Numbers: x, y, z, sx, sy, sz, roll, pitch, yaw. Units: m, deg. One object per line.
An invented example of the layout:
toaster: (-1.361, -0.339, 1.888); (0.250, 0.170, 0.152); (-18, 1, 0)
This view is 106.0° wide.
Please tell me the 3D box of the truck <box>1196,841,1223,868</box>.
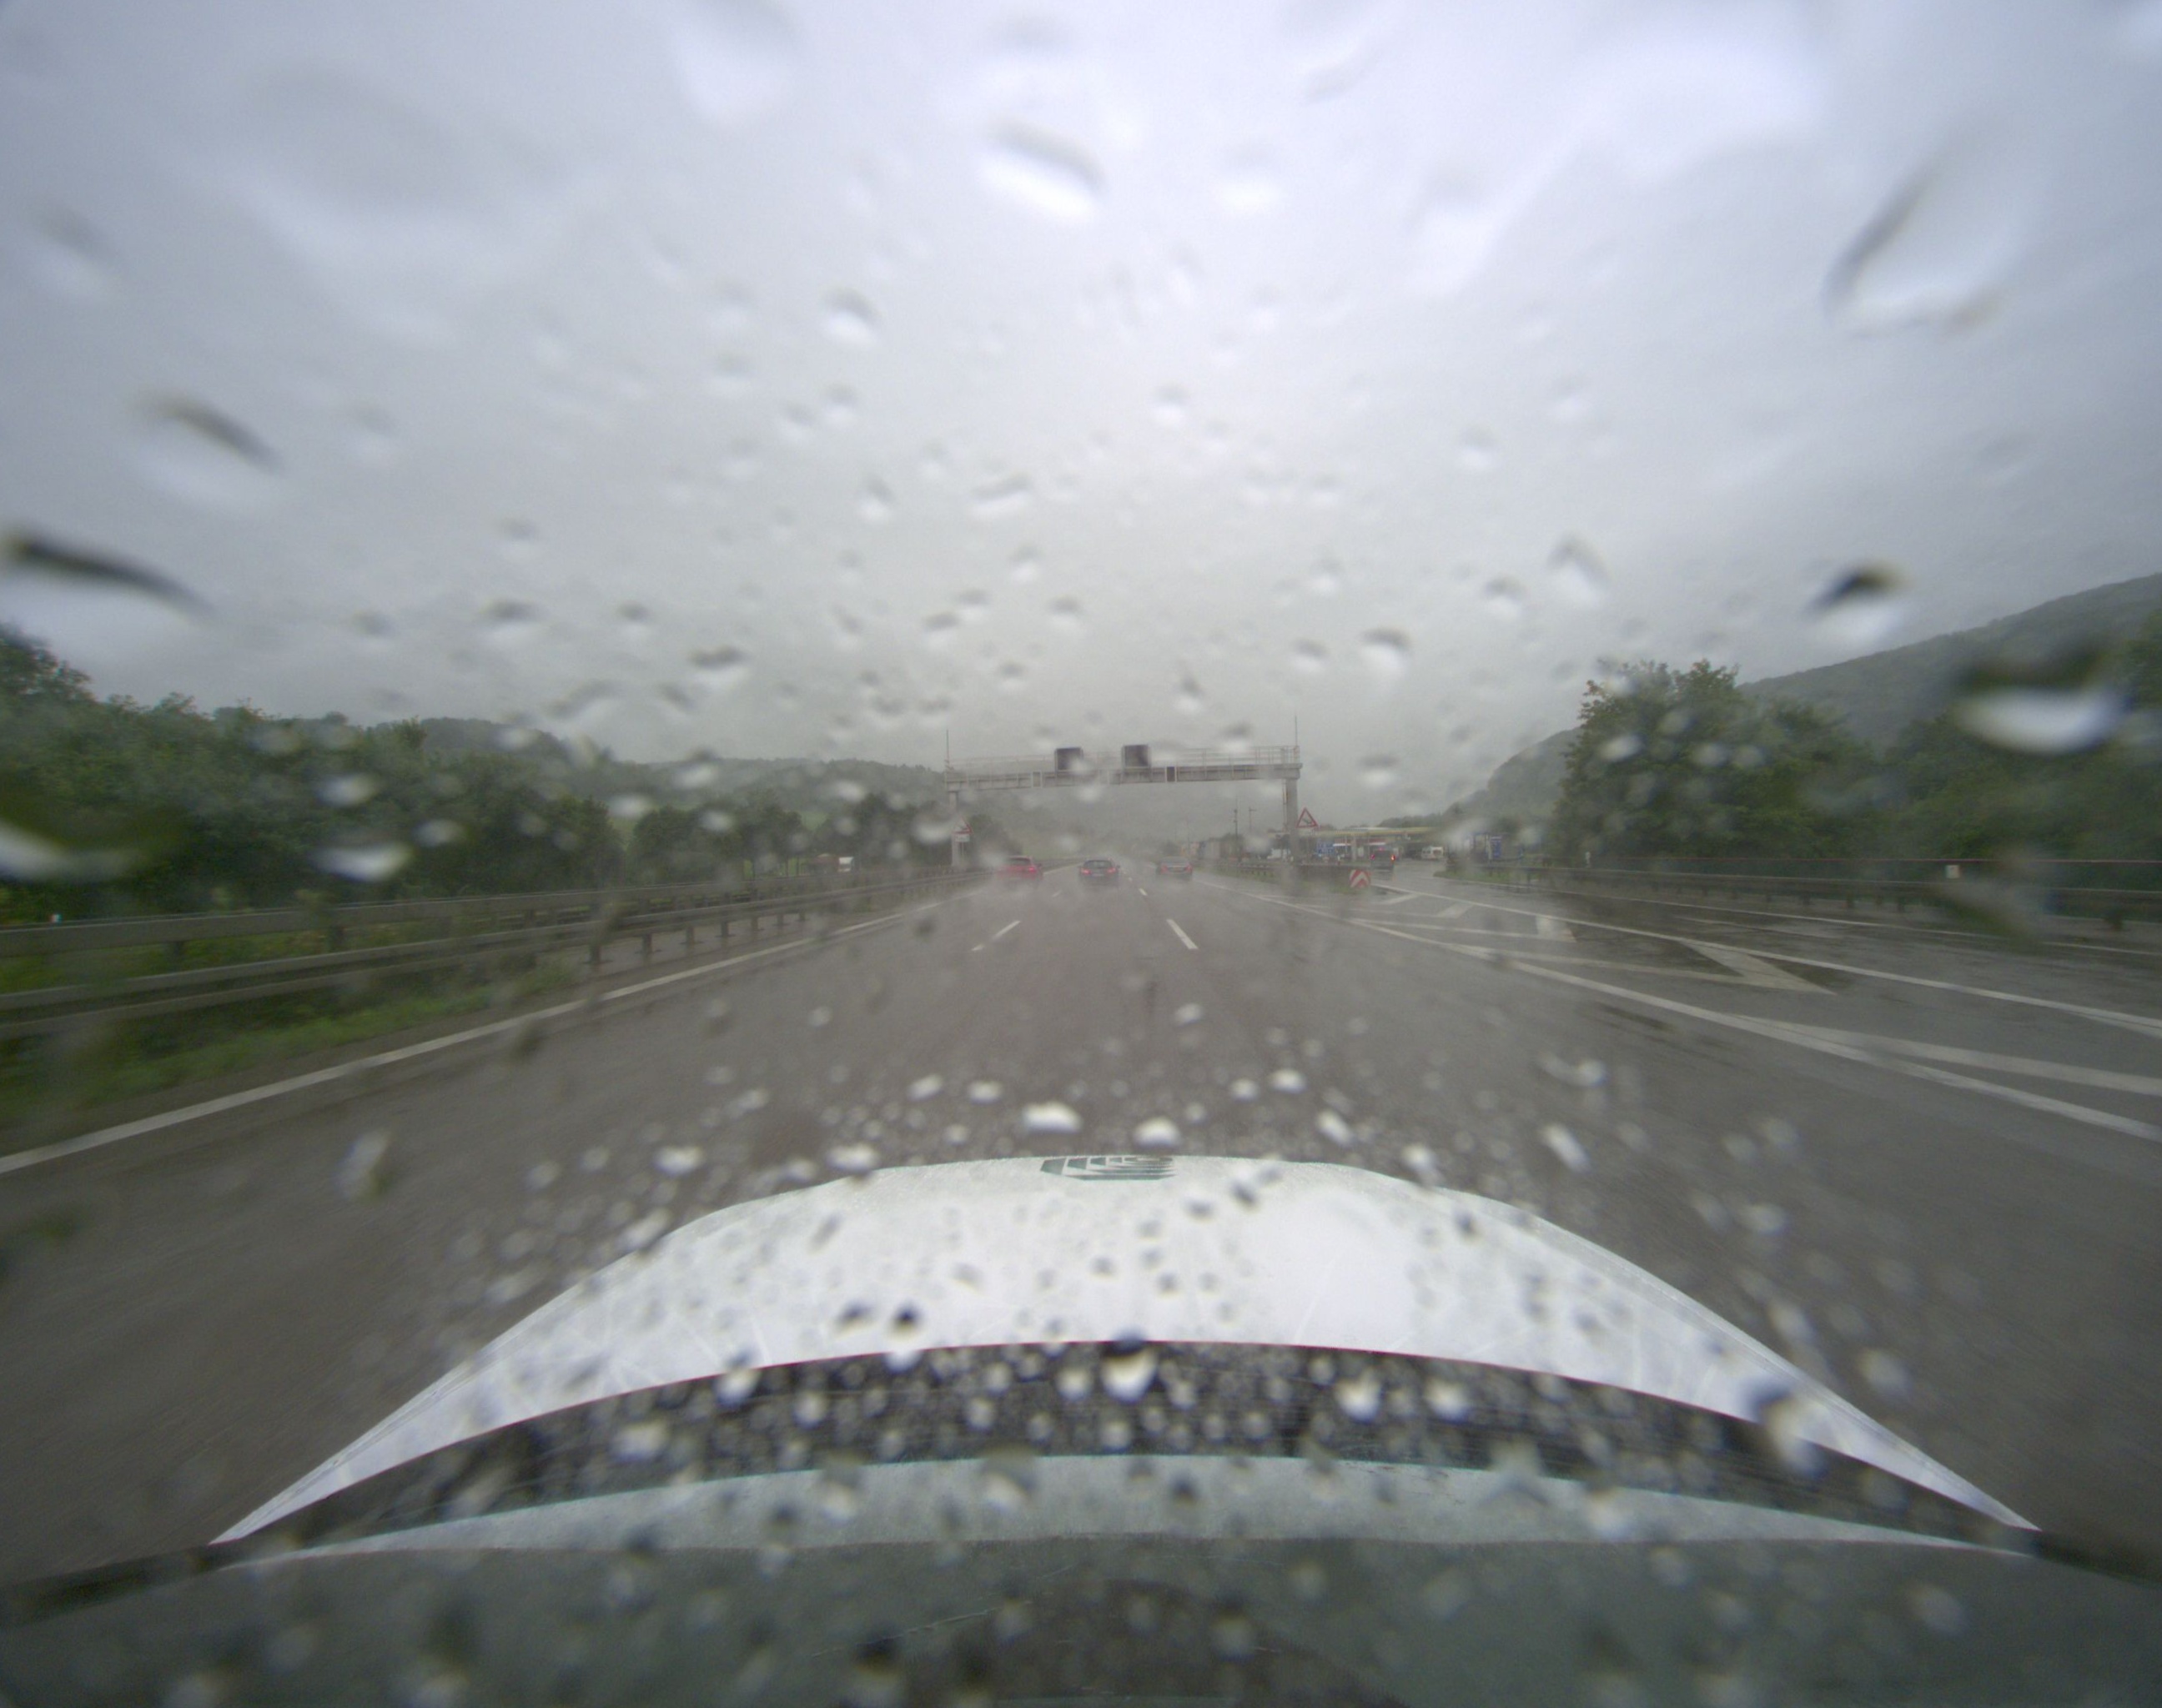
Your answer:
truck: (21.426, 0.051, 136.477); (3.387, 4.402, 11.056); (0, 0, 3)

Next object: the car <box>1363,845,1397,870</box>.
car: (25.784, 0.300, 70.331); (1.980, 2.013, 5.071); (-1, 0, 11)

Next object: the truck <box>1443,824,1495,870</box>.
truck: (38.722, -0.648, 81.005); (2.842, 4.256, 11.947); (-1, -1, 34)

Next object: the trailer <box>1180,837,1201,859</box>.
trailer: (22.339, -1.080, 166.547); (3.501, 4.262, 11.930); (0, -1, 3)

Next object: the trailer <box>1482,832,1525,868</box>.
trailer: (48.844, -0.367, 93.977); (2.757, 3.900, 11.825); (-1, -1, 35)

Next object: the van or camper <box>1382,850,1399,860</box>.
van or camper: (62.256, 0.210, 163.901); (1.986, 2.014, 4.002); (0, -1, 2)

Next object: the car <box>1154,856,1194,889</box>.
car: (5.147, 0.986, 45.575); (1.964, 1.760, 4.003); (-1, 0, 3)

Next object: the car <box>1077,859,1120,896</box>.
car: (0.866, 1.049, 37.499); (1.852, 1.589, 4.002); (0, -1, 3)

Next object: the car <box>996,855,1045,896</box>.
car: (-2.820, 0.979, 38.826); (1.877, 1.816, 4.001); (-1, 0, 2)

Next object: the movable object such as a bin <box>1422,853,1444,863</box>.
movable object such as a bin: (69.209, 0.779, 160.368); (2.158, 2.014, 5.385); (0, -1, 2)
